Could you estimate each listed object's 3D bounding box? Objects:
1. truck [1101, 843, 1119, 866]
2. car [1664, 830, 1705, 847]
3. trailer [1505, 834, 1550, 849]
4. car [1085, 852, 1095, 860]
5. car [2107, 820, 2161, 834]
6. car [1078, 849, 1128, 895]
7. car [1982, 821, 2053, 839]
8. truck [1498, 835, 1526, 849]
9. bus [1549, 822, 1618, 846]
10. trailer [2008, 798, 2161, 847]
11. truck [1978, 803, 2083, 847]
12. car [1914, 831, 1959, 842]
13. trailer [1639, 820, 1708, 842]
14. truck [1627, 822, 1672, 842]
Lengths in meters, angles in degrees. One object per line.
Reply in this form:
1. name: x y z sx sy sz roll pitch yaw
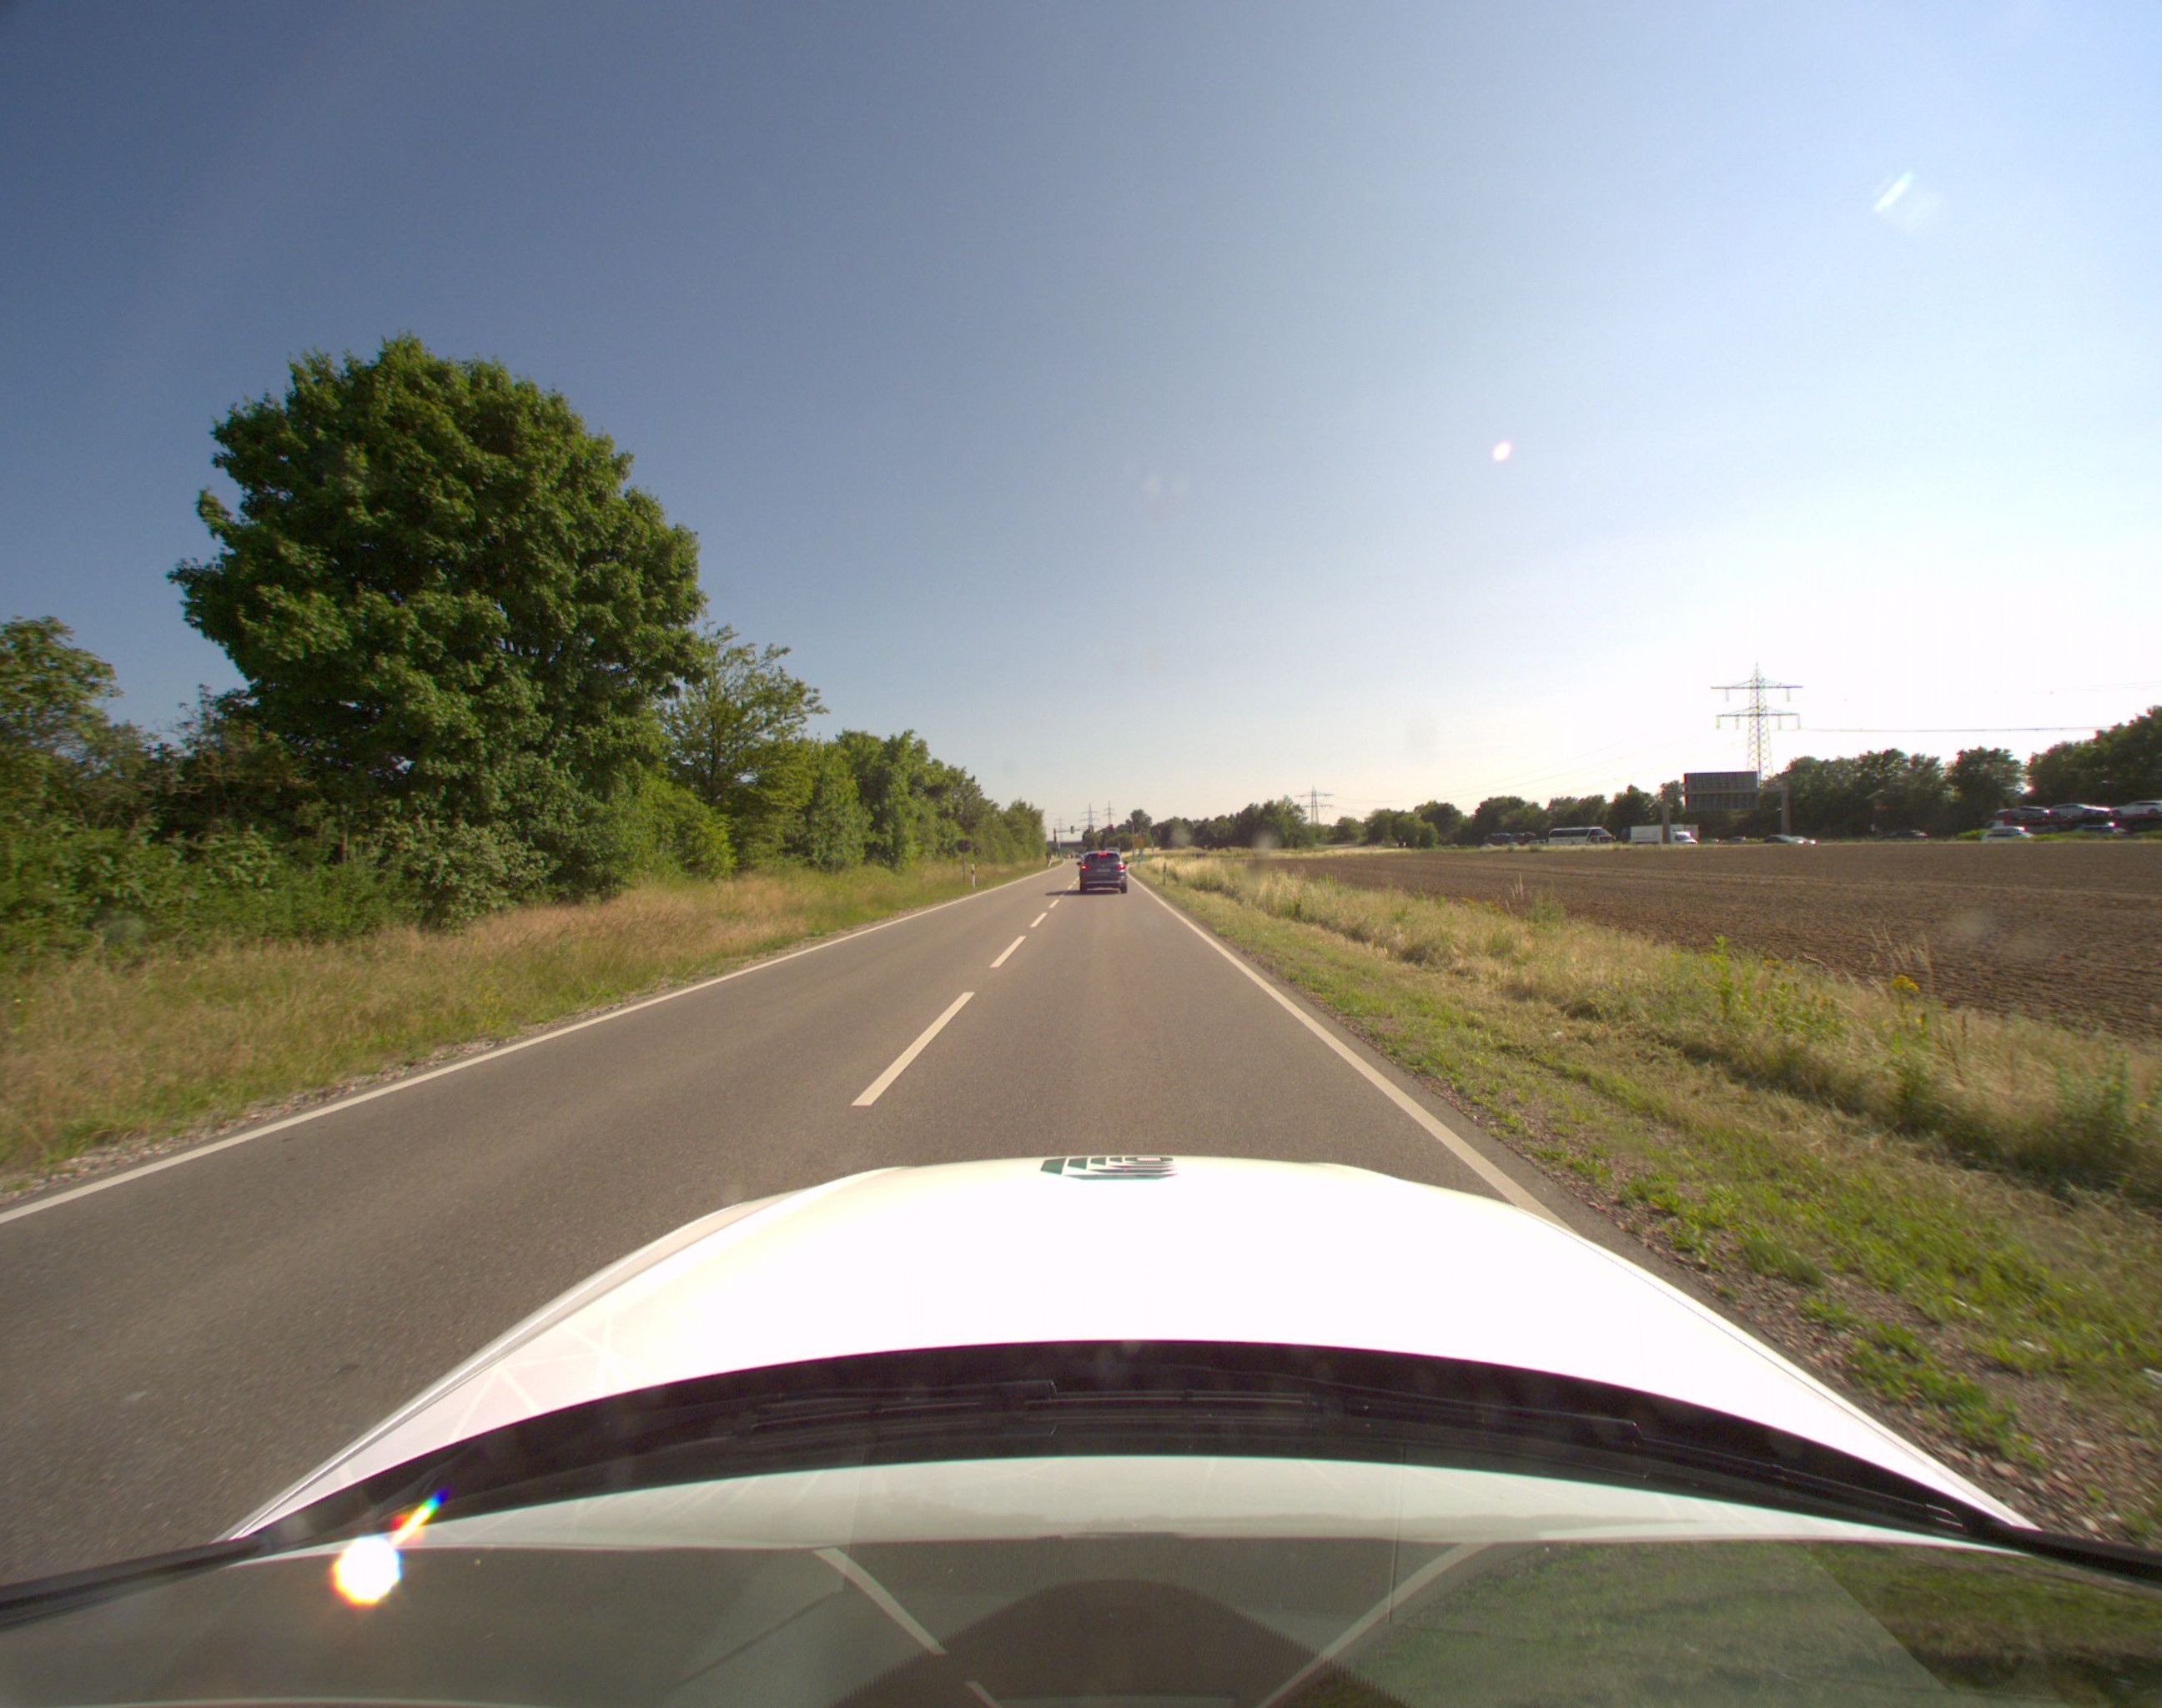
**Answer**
1. truck: 4.014 0.143 112.736 2.328 3.066 5.813 -1 -1 2
2. car: 88.738 -2.241 119.872 1.986 2.372 5.523 0 0 1
3. trailer: 104.078 -2.822 190.167 3.273 3.267 13.454 -2 1 0
4. car: 1.709 0.346 159.882 1.811 1.540 3.997 -2 0 -2
5. car: 96.157 -2.467 74.005 1.390 1.151 3.581 0 1 -1
6. car: 0.839 0.629 31.583 1.779 1.629 4.001 -1 0 1
7. car: 84.188 -2.130 73.268 1.696 1.543 4.198 0 0 2
8. truck: 104.150 -2.883 196.744 3.273 3.267 6.429 -2 0 0
9. bus: 85.373 -3.304 138.911 2.455 3.803 14.542 -2 1 -1
10. trailer: 103.248 -3.065 80.345 3.410 4.452 17.560 -2 0 0
11. truck: 103.207 -3.042 88.694 3.410 4.452 6.704 -2 0 -1
12. car: 96.511 -1.949 91.925 1.390 1.151 3.581 0 1 -1
13. trailer: 104.644 -3.991 144.160 3.273 3.267 12.456 -2 0 0
14. truck: 104.670 -3.978 150.130 3.273 3.267 6.979 -2 0 0
